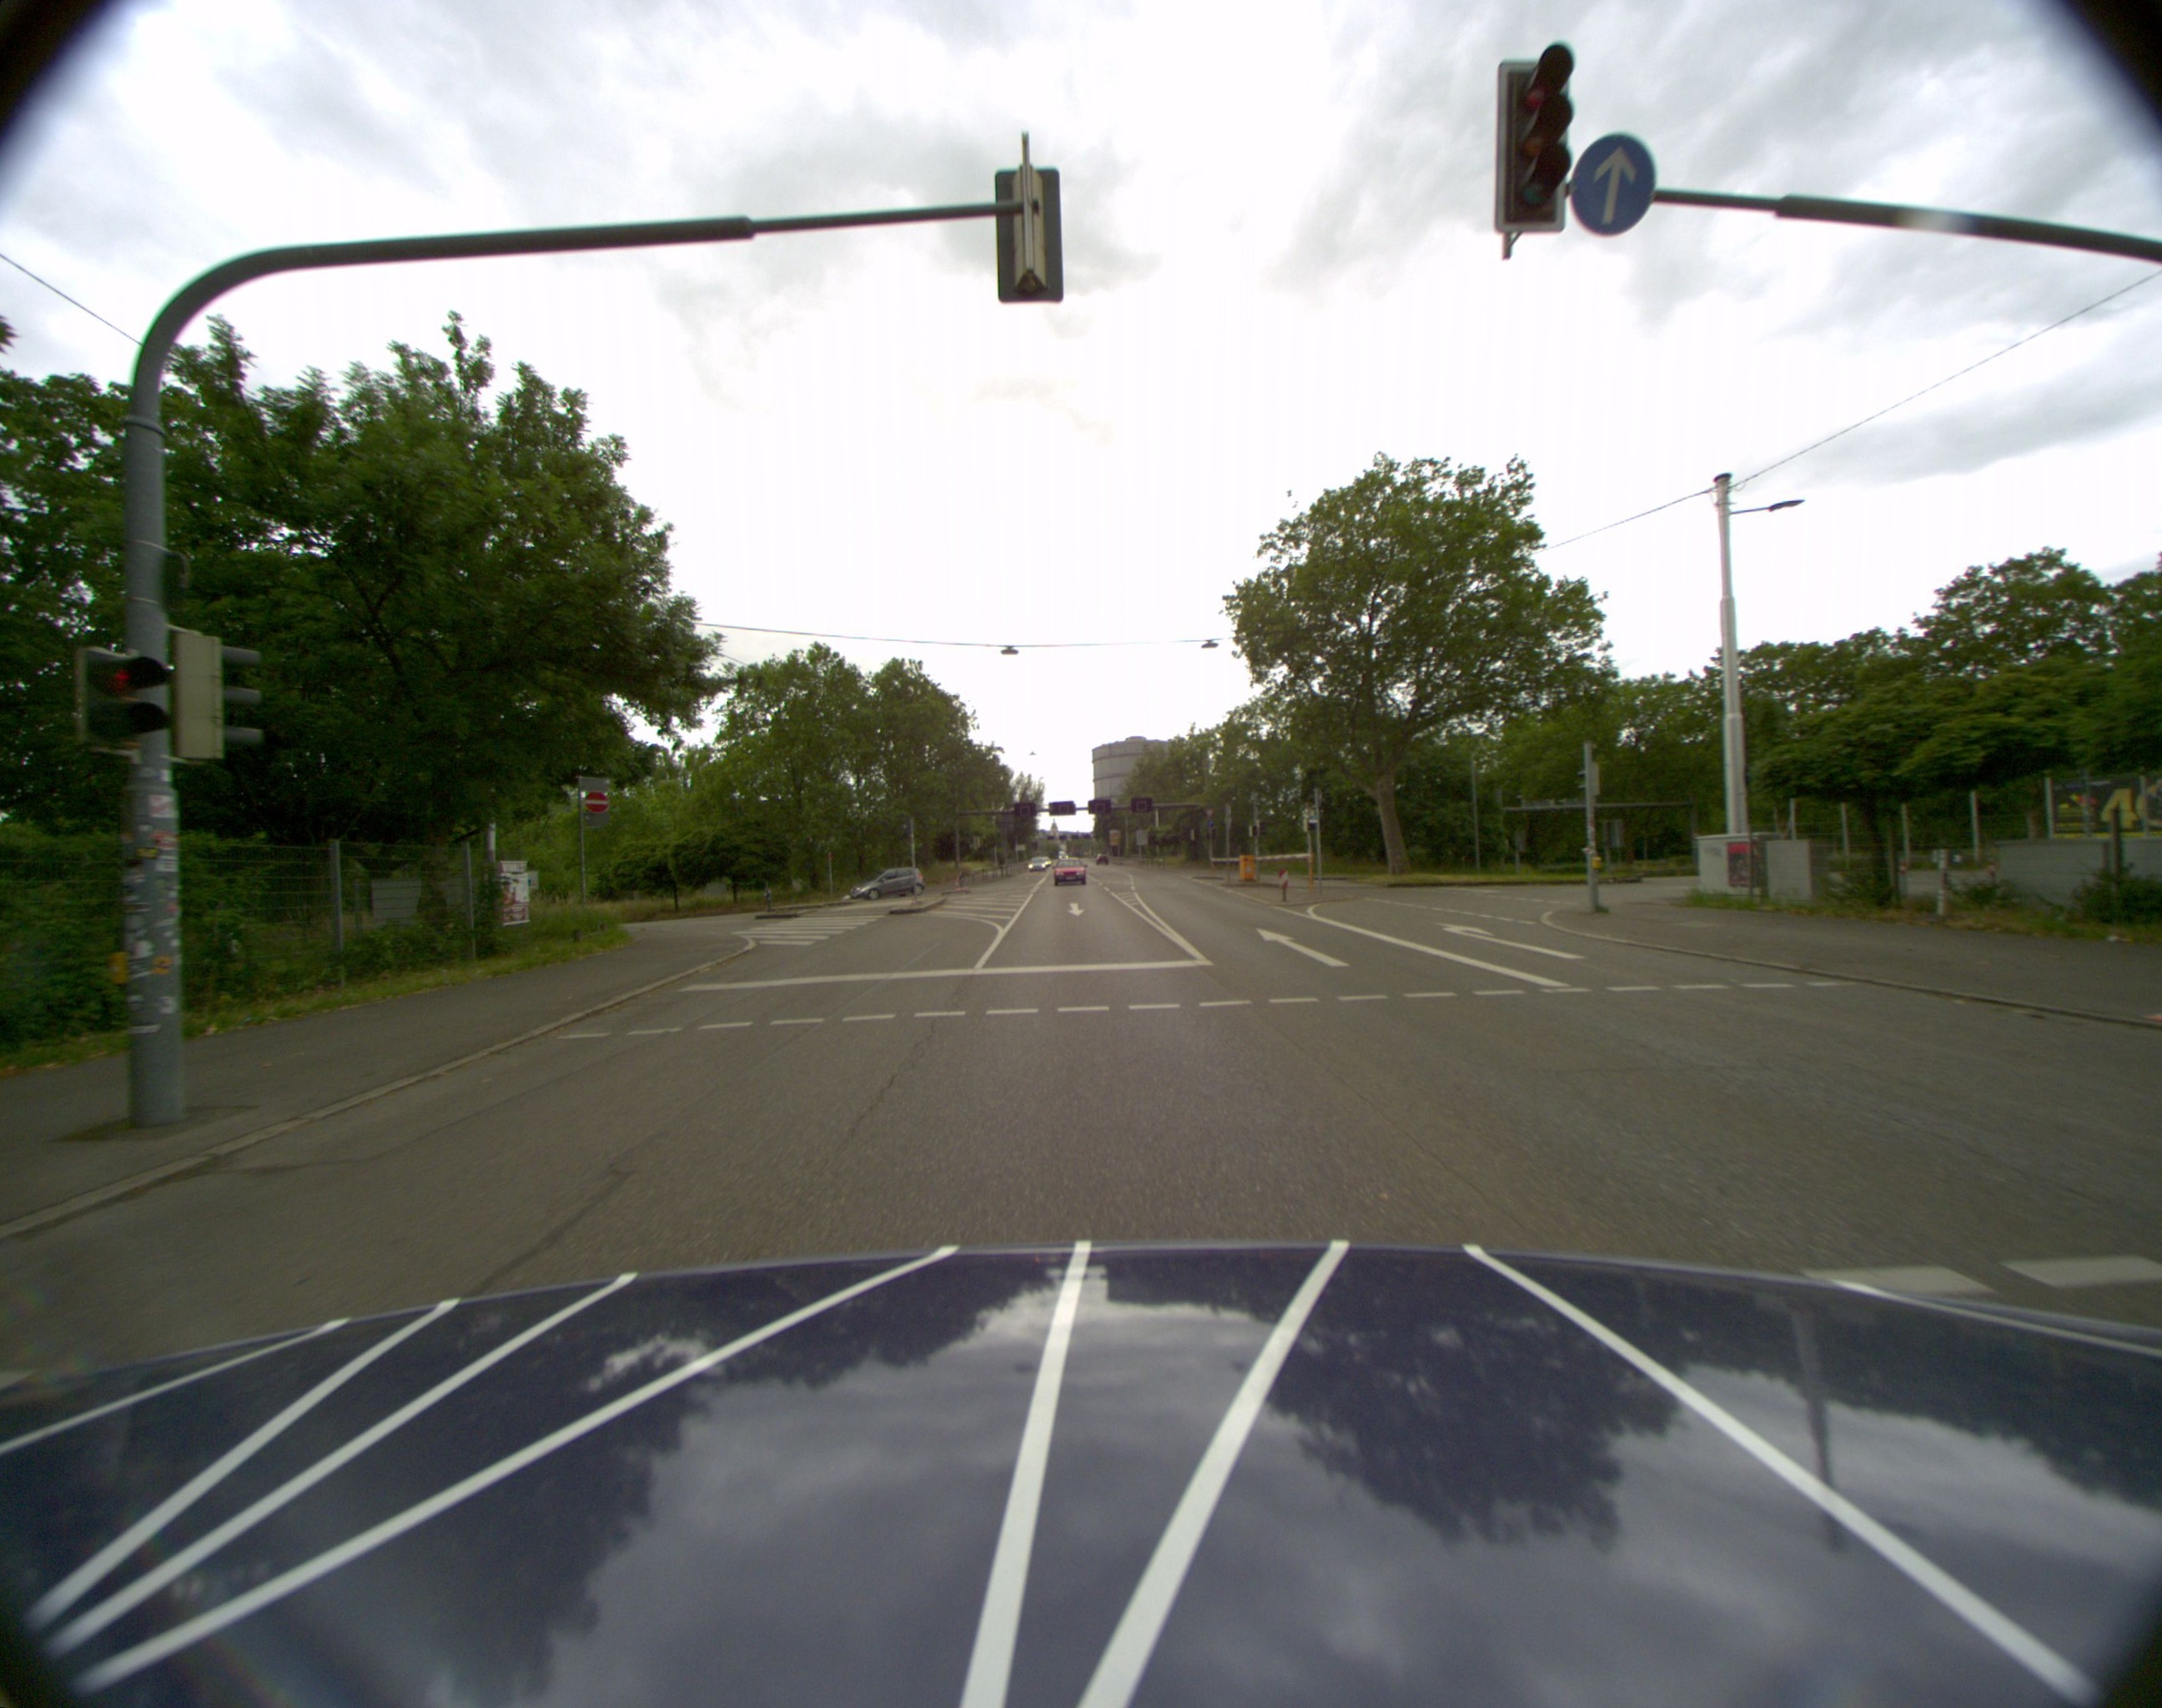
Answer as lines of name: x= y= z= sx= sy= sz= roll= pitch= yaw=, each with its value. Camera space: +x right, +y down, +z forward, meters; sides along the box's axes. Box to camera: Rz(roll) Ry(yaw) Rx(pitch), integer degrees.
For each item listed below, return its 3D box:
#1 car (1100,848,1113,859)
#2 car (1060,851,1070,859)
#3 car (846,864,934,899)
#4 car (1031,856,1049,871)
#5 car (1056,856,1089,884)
car: x=4.128 y=-0.099 z=122.168 sx=1.998 sy=1.650 sz=4.517 roll=-1 pitch=0 yaw=2
car: x=-3.622 y=0.252 z=176.384 sx=1.998 sy=1.792 sz=4.000 roll=-4 pitch=0 yaw=2
car: x=-10.093 y=1.447 z=40.268 sx=4.042 sy=1.606 sz=1.827 roll=-2 pitch=-1 yaw=-42
car: x=-4.533 y=1.036 z=84.200 sx=1.771 sy=1.565 sz=3.999 roll=-2 pitch=0 yaw=-1
car: x=-0.486 y=0.845 z=40.722 sx=1.696 sy=1.434 sz=4.000 roll=-1 pitch=-1 yaw=-2
